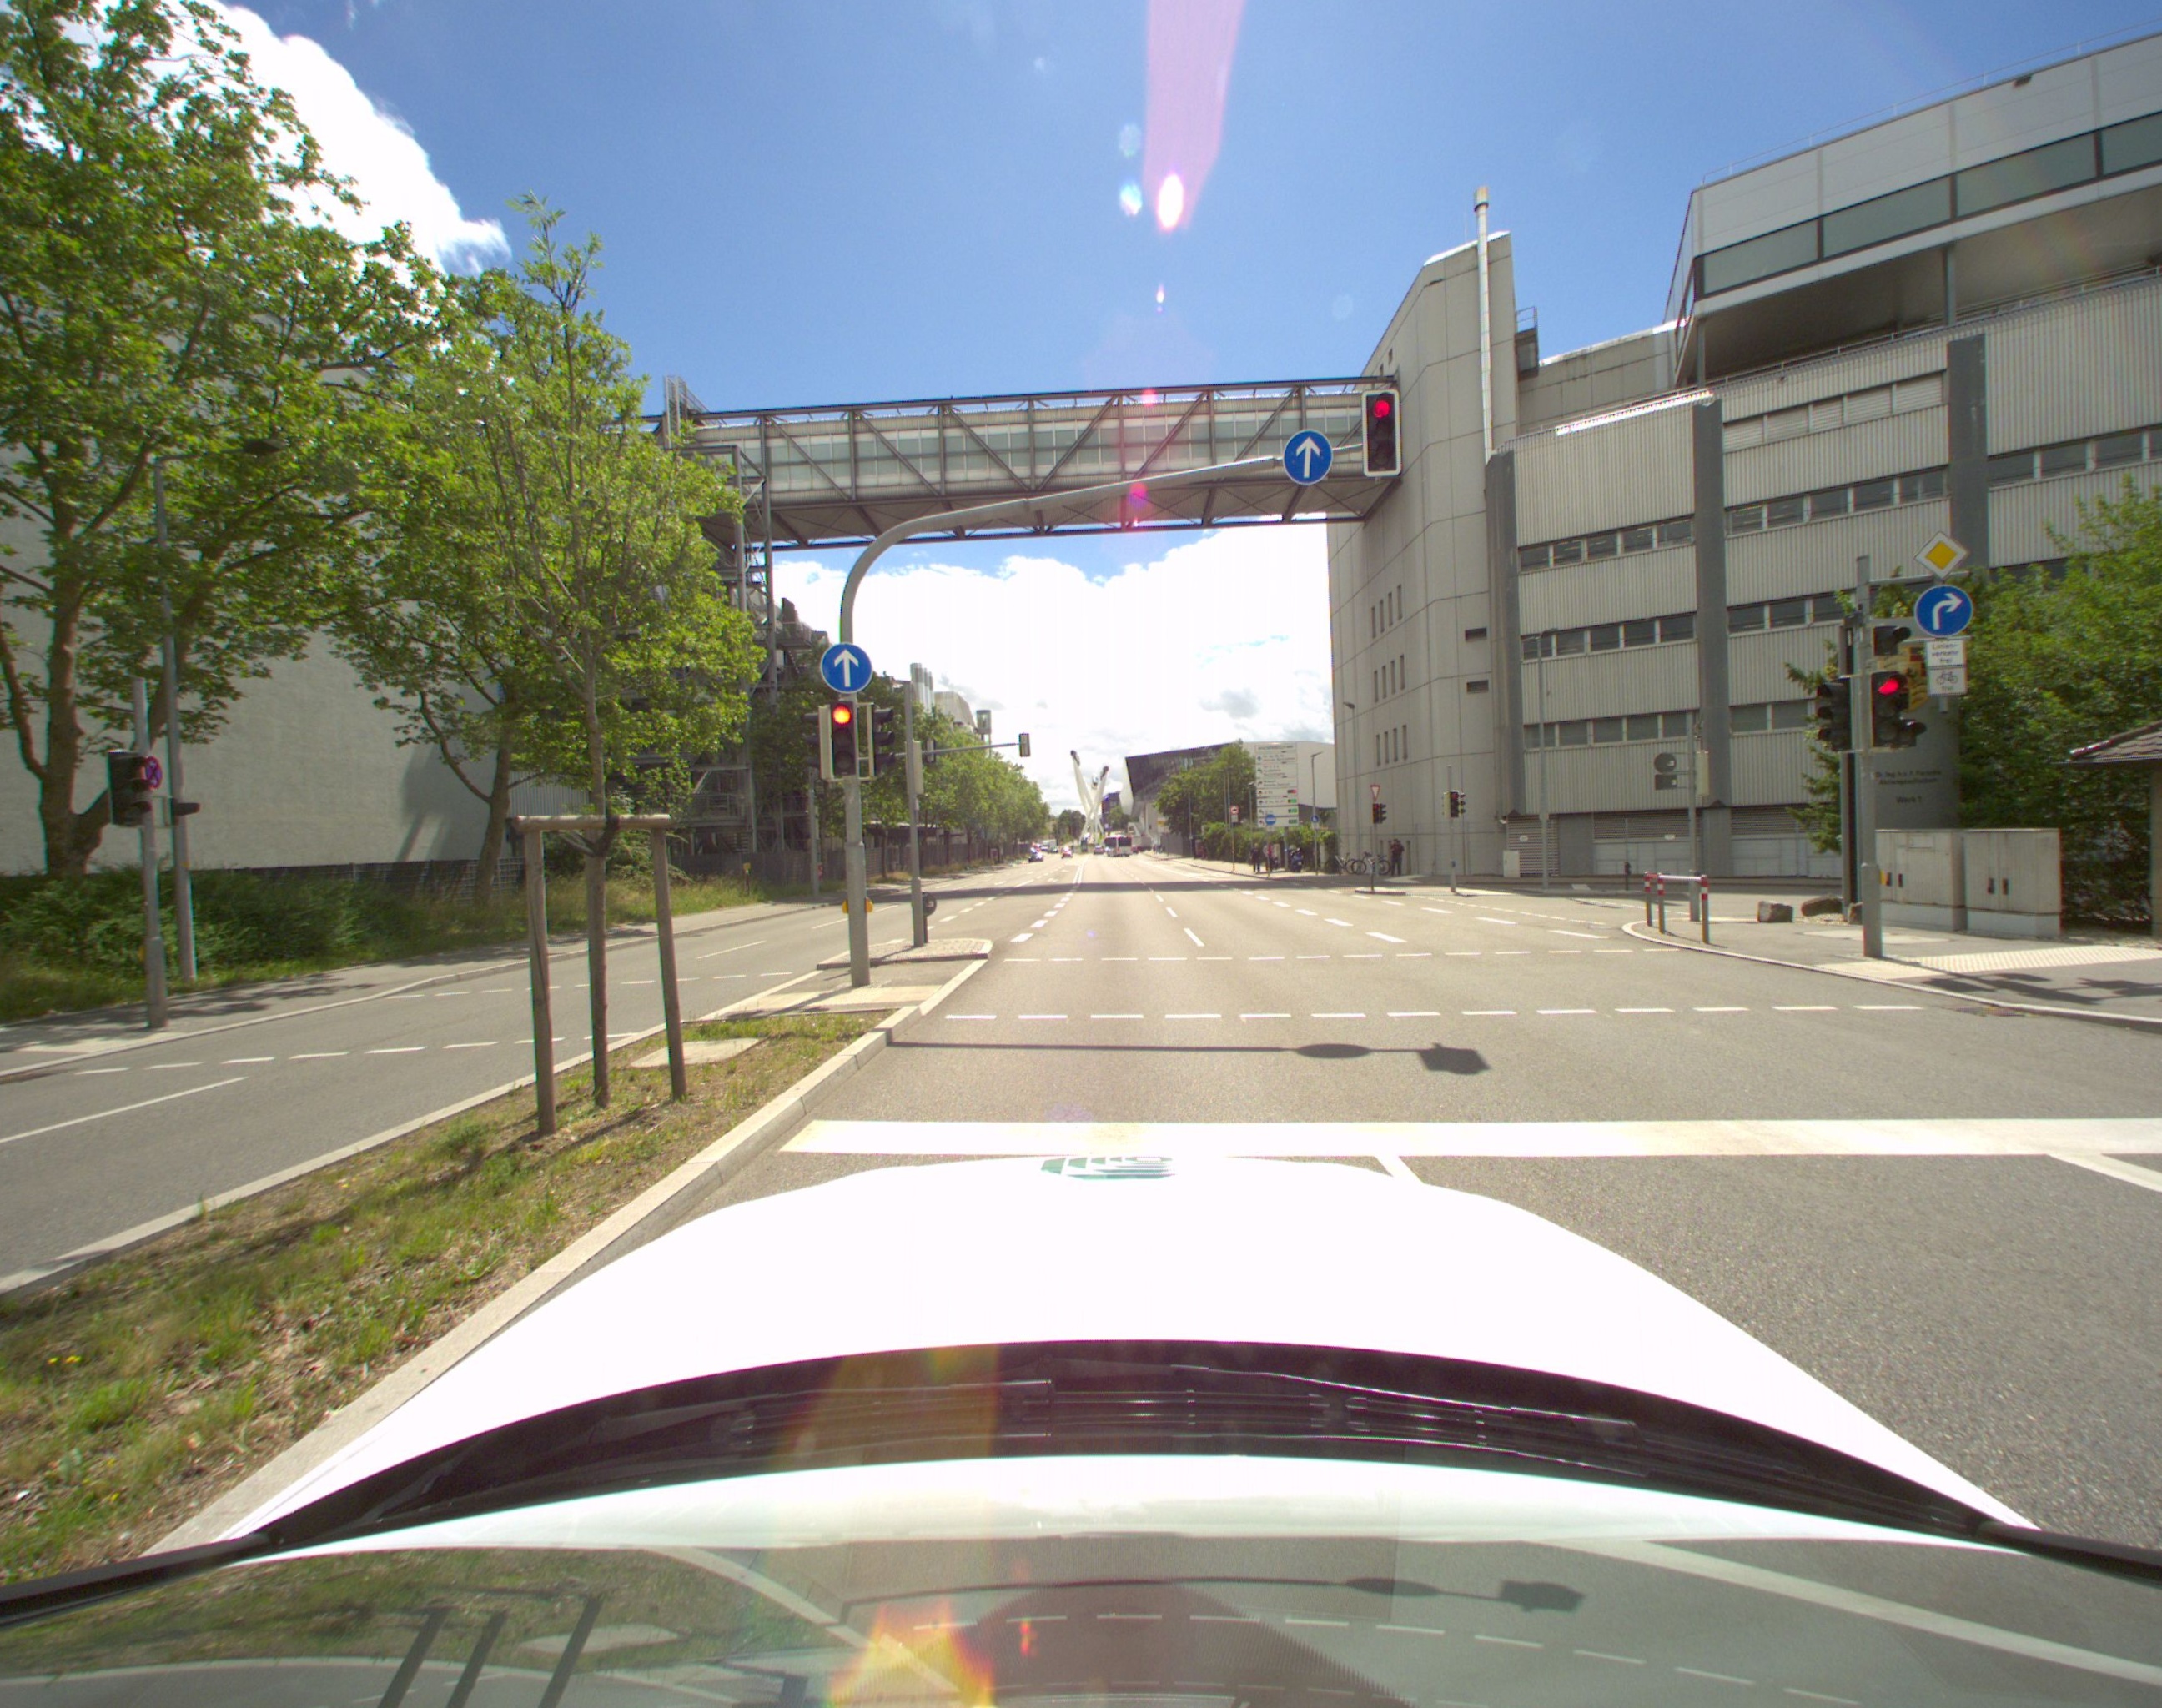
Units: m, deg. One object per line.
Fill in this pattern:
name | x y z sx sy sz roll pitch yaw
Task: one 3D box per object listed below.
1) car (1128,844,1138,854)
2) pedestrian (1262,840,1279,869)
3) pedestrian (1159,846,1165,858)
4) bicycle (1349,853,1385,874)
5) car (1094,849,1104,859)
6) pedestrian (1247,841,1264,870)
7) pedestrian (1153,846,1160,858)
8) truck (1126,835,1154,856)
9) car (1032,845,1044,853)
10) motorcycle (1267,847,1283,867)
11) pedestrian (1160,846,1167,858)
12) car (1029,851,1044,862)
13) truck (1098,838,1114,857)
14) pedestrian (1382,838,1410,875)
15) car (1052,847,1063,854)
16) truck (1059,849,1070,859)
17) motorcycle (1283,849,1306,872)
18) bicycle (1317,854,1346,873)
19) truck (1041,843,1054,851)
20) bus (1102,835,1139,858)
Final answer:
car | 9.571 -0.874 149.483 1.732 1.741 3.693 -1 0 2
pedestrian | 11.261 0.028 48.436 0.817 1.741 0.637 -1 0 1
pedestrian | 13.784 -0.351 138.745 1.026 2.014 0.884 0 -1 -2
bicycle | 13.489 0.456 38.497 0.399 0.937 1.913 -1 0 -24
car | 3.222 -0.064 148.916 1.732 1.741 3.693 -1 0 2
pedestrian | 10.405 0.108 48.569 0.817 1.707 0.881 -1 0 1
pedestrian | 12.717 -0.362 137.717 1.026 2.014 0.884 0 -1 -2
truck | 12.518 -1.790 171.626 3.424 4.391 9.466 -1 0 19
car | -10.911 -1.276 205.365 1.981 2.013 4.012 -1 0 11
motorcycle | 12.534 0.202 52.601 0.572 1.203 2.025 -3 1 2
pedestrian | 13.980 -0.374 137.642 1.026 2.014 0.884 0 -1 -2
car | -6.327 0.356 116.270 1.813 1.537 3.678 -3 0 0
truck | 5.304 -1.364 172.255 2.378 3.897 6.192 -1 0 9
pedestrian | 14.259 0.104 36.867 0.839 1.624 0.962 -1 0 43
car | -5.343 -0.809 184.231 1.818 1.537 3.667 -3 0 -9
truck | -2.613 -0.010 128.615 1.580 1.537 3.673 -1 0 -4
motorcycle | 11.713 0.329 44.755 0.703 1.203 2.025 -3 1 2
bicycle | 12.545 0.457 40.809 0.398 0.937 1.917 -1 0 -17
truck | -9.097 -1.839 221.644 1.744 2.013 4.469 -1 0 24
bus | 6.181 -1.152 129.467 3.453 3.543 10.569 -1 0 -10
